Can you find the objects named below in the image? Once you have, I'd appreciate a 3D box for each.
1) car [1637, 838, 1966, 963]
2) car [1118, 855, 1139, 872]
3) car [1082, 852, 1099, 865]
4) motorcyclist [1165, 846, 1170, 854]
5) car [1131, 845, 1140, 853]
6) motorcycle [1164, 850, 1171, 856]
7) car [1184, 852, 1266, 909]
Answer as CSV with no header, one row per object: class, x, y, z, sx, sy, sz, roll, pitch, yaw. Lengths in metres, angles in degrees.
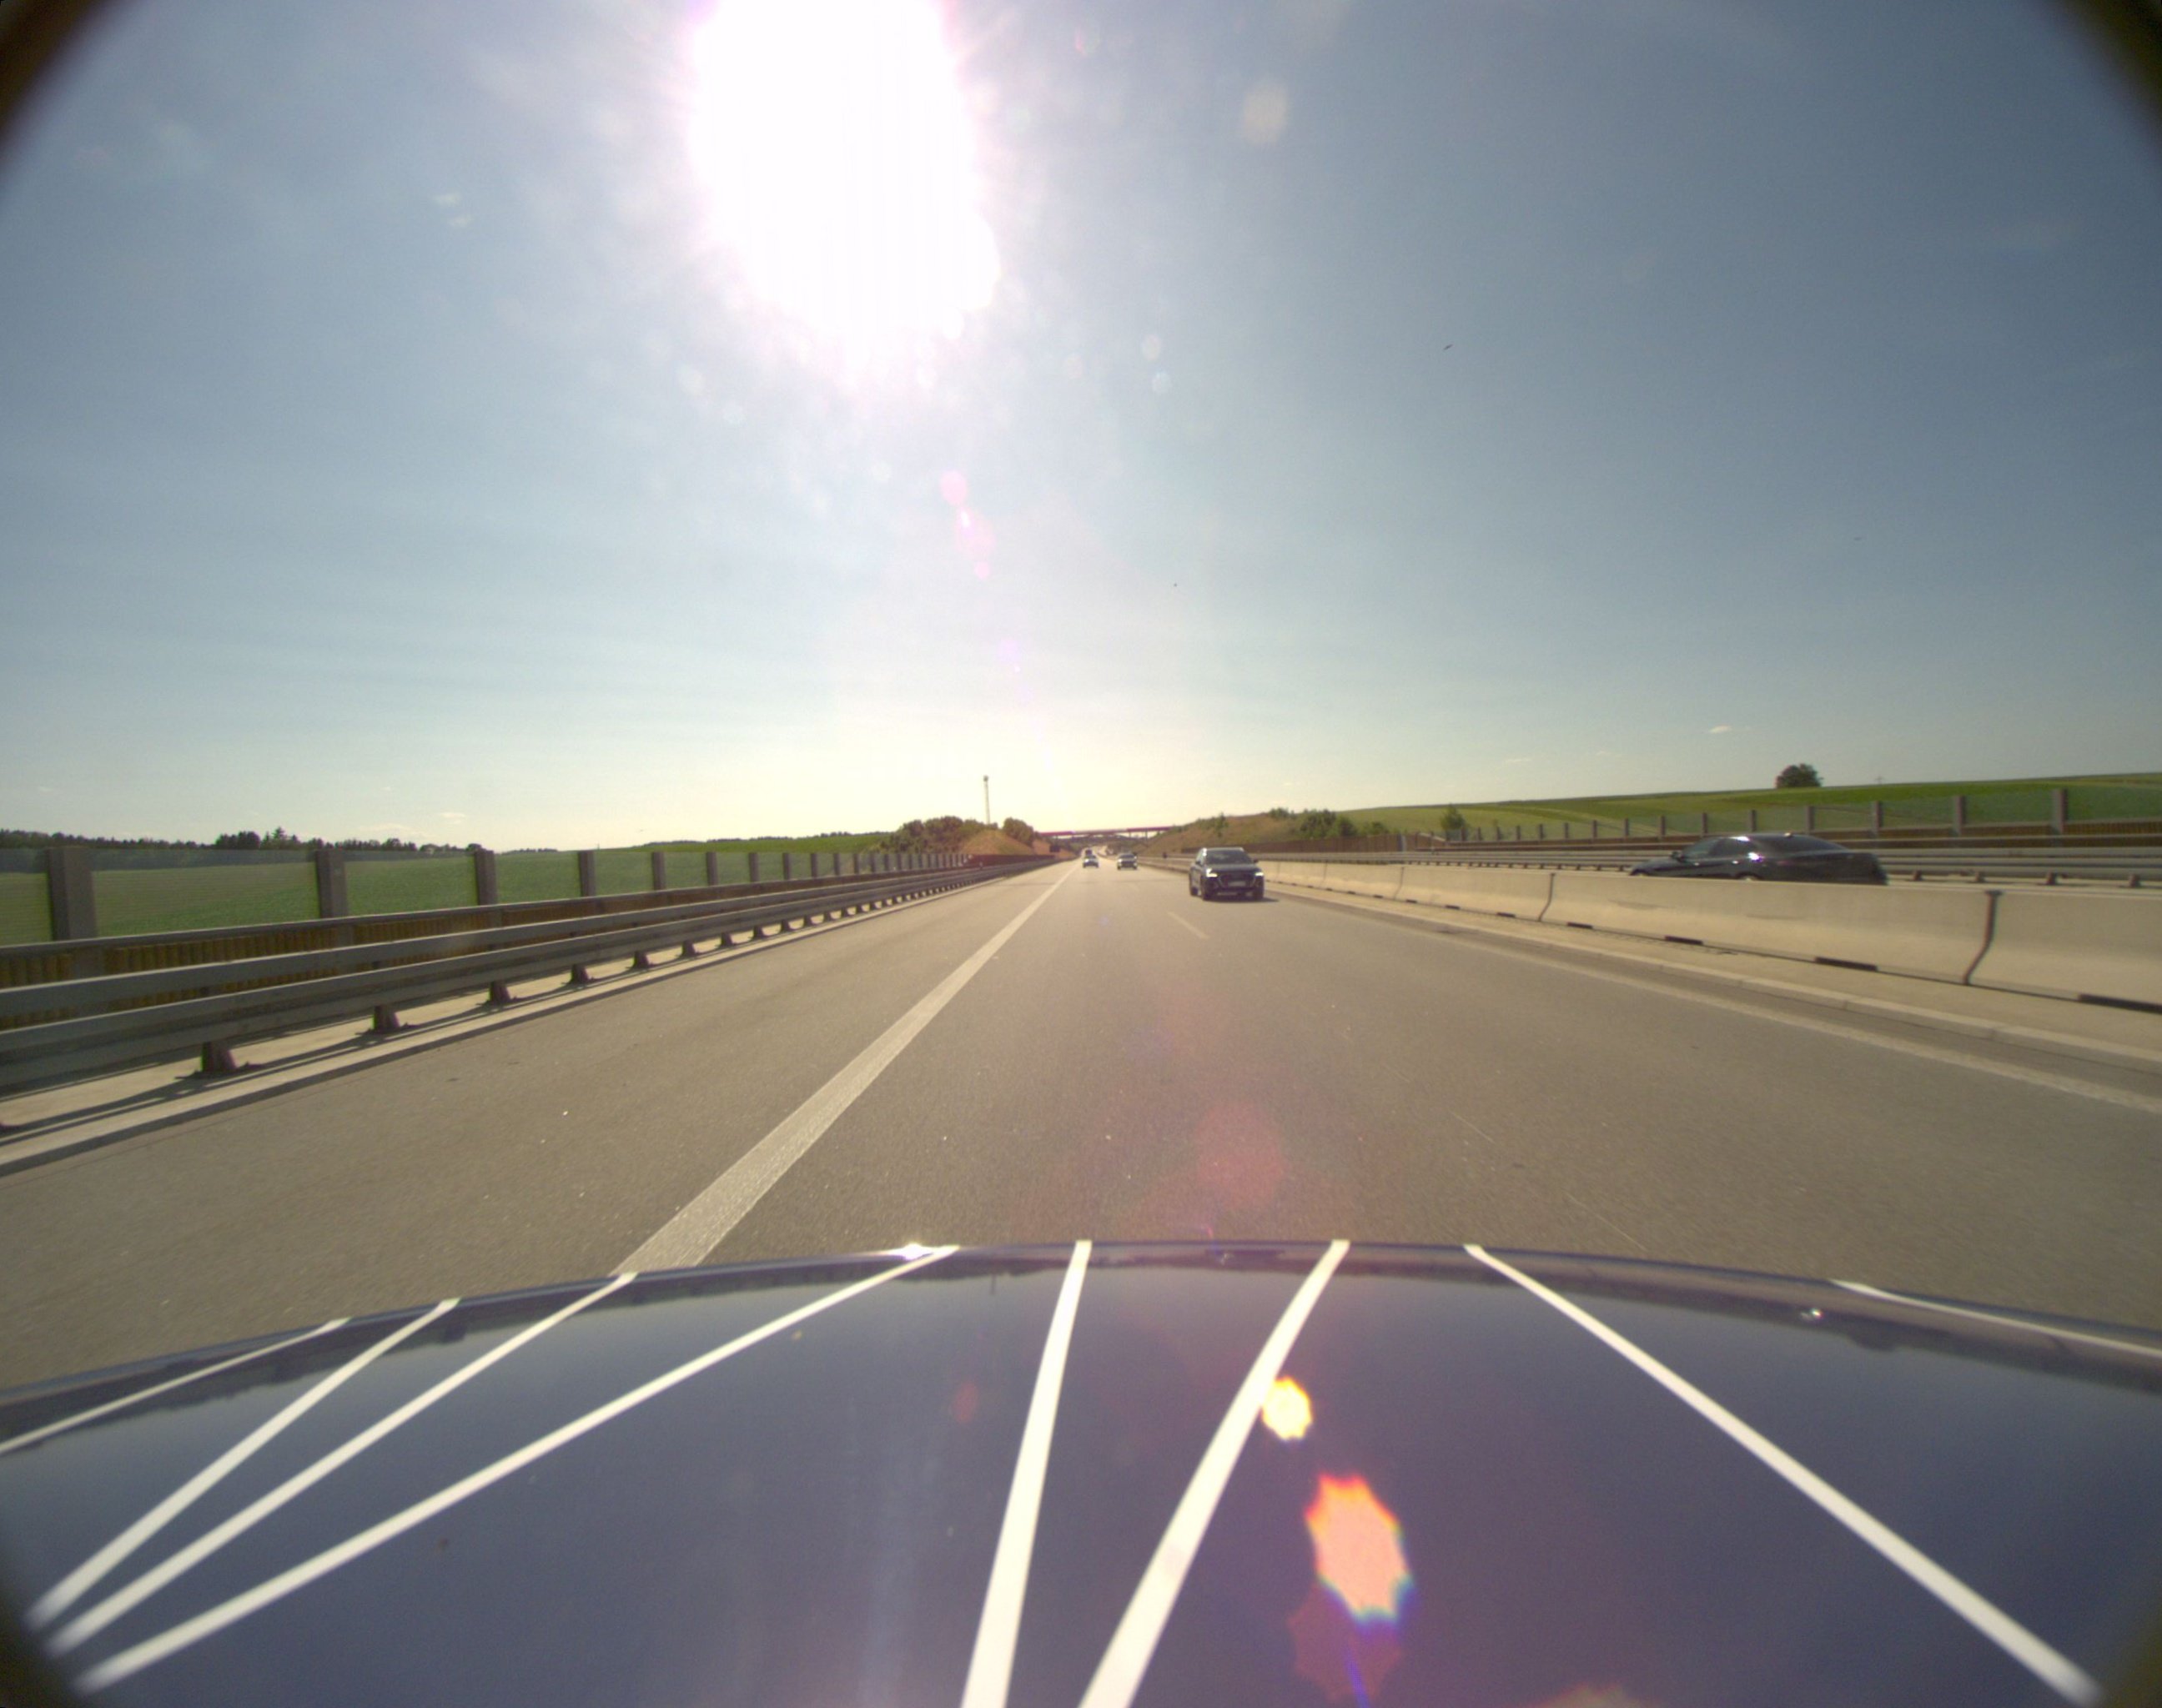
car,13.545,0.740,14.833,1.998,2.002,4.761,-2,1,2
car,4.543,0.891,73.540,1.776,1.560,4.988,-2,1,1
car,1.196,0.547,90.584,1.909,1.449,4.376,-2,1,2
motorcyclist,17.407,-0.750,152.902,1.015,1.555,1.428,-2,1,1
car,13.850,-1.253,194.054,1.998,2.002,5.737,-2,1,1
motorcycle,17.419,-0.287,152.948,1.016,1.160,2.868,-2,0,1
car,4.563,0.783,24.820,1.726,1.578,5.222,-2,1,1
